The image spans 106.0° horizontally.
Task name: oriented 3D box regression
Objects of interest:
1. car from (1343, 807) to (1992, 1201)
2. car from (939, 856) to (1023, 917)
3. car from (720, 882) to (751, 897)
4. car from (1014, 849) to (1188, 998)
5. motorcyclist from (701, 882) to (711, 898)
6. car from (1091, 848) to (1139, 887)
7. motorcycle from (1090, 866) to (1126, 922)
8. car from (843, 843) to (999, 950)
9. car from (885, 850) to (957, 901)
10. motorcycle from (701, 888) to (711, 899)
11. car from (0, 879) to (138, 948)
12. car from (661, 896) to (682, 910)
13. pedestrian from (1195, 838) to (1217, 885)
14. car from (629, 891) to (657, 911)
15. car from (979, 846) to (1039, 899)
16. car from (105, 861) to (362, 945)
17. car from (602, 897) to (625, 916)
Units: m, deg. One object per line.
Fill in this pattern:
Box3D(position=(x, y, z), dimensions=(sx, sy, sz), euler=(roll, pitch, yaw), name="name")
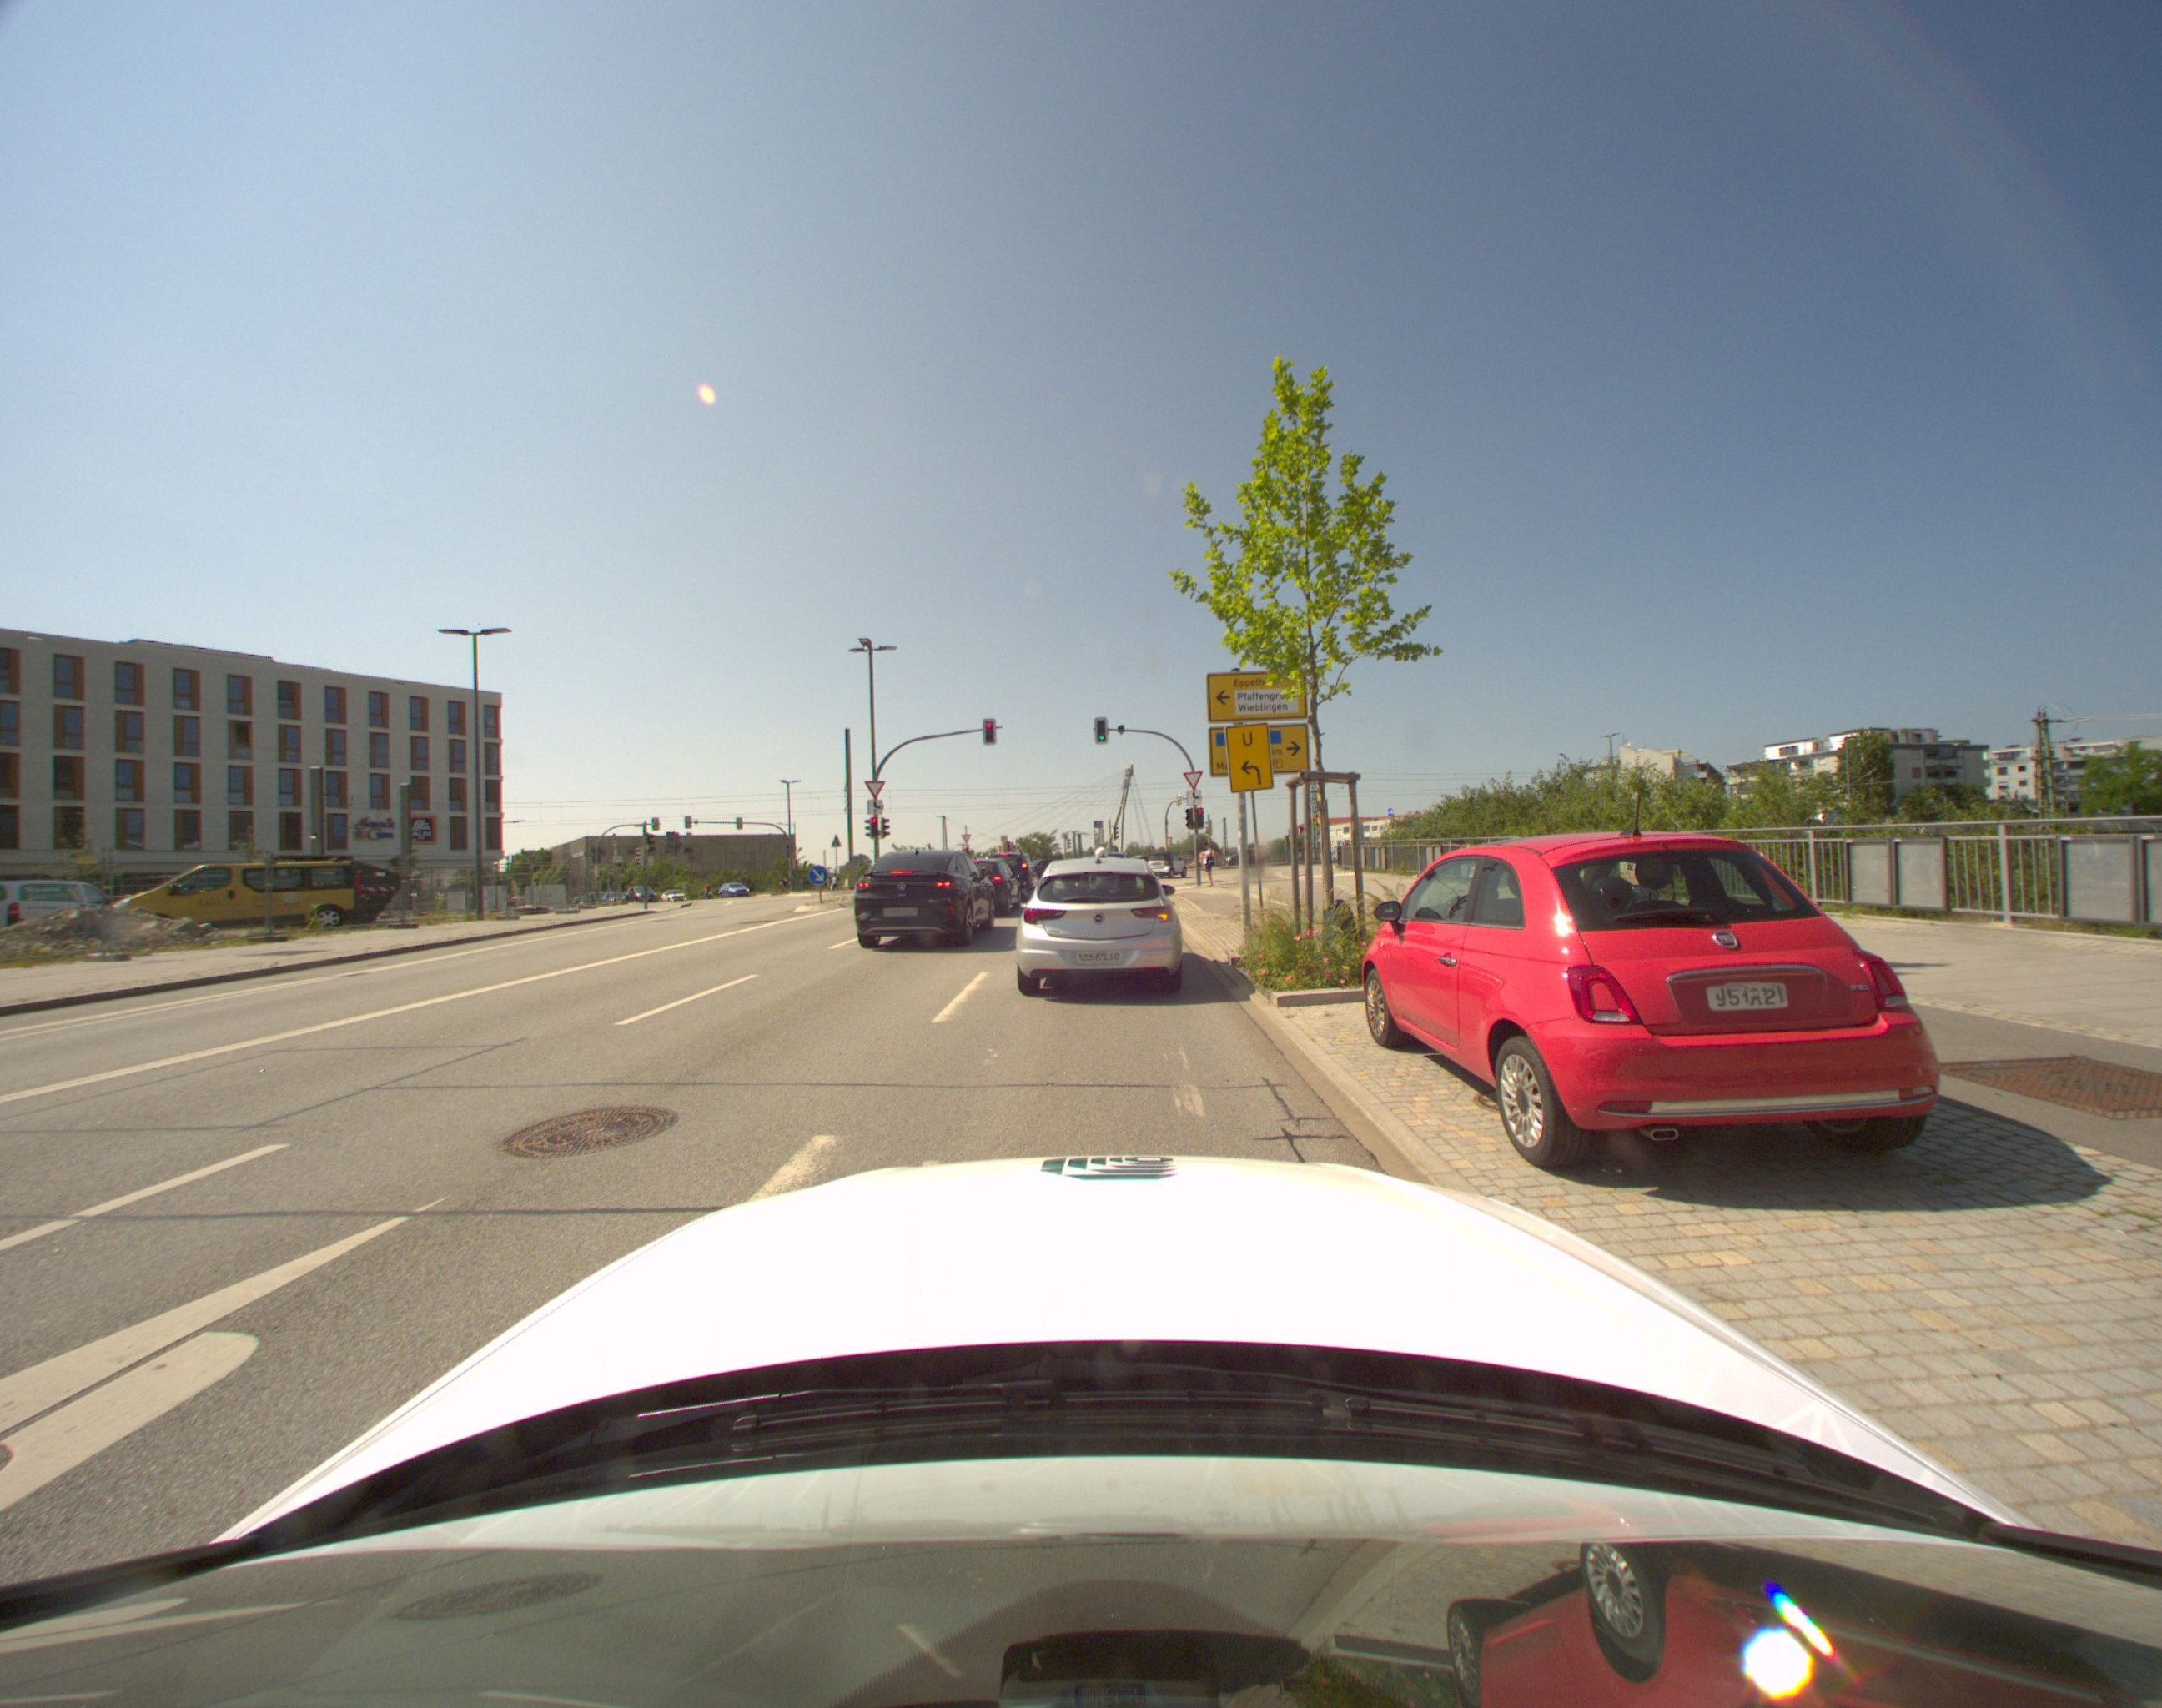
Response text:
Box3D(position=(2.877, 0.602, 4.946), dimensions=(1.603, 1.496, 3.356), euler=(-4, 0, 4), name="car")
Box3D(position=(-2.492, 0.781, 21.040), dimensions=(1.569, 1.434, 3.787), euler=(-1, 0, 2), name="car")
Box3D(position=(-32.459, 3.294, 76.467), dimensions=(1.831, 1.331, 3.955), euler=(0, -2, -37), name="car")
Box3D(position=(0.200, 0.705, 10.158), dimensions=(1.737, 1.478, 3.999), euler=(0, 0, 0), name="car")
Box3D(position=(-36.843, 3.518, 79.959), dimensions=(0.756, 1.494, 0.670), euler=(0, -1, -35), name="motorcyclist")
Box3D(position=(1.534, 0.554, 35.931), dimensions=(1.714, 1.563, 4.009), euler=(0, 1, 8), name="car")
Box3D(position=(0.521, 0.791, 16.465), dimensions=(0.500, 1.014, 2.171), euler=(-5, -2, -2), name="motorcycle")
Box3D(position=(-2.712, 0.672, 14.838), dimensions=(1.794, 1.641, 4.368), euler=(-1, 0, 2), name="car")
Box3D(position=(-5.183, 0.668, 26.809), dimensions=(1.592, 1.547, 3.762), euler=(0, 0, 0), name="car")
Box3D(position=(-36.799, 3.879, 79.894), dimensions=(0.523, 0.955, 1.913), euler=(0, -1, -35), name="motorcycle")
Box3D(position=(-30.903, 1.706, 24.165), dimensions=(1.872, 1.774, 4.620), euler=(0, 0, -22), name="car")
Box3D(position=(-45.172, 5.362, 89.829), dimensions=(1.617, 1.339, 2.892), euler=(0, -1, -38), name="car")
Box3D(position=(5.005, 0.295, 32.586), dimensions=(0.645, 1.836, 0.798), euler=(-3, -1, 0), name="pedestrian")
Box3D(position=(-37.920, 4.036, 70.431), dimensions=(1.686, 1.476, 3.368), euler=(-2, 0, -36), name="car")
Box3D(position=(-2.316, 0.574, 27.094), dimensions=(1.644, 1.615, 3.820), euler=(0, 0, 0), name="car")
Box3D(position=(-22.566, 1.201, 21.894), dimensions=(1.964, 1.962, 4.655), euler=(-1, -1, 41), name="car")
Box3D(position=(-43.820, 4.869, 76.309), dimensions=(1.578, 1.587, 3.442), euler=(0, -1, -35), name="car")
